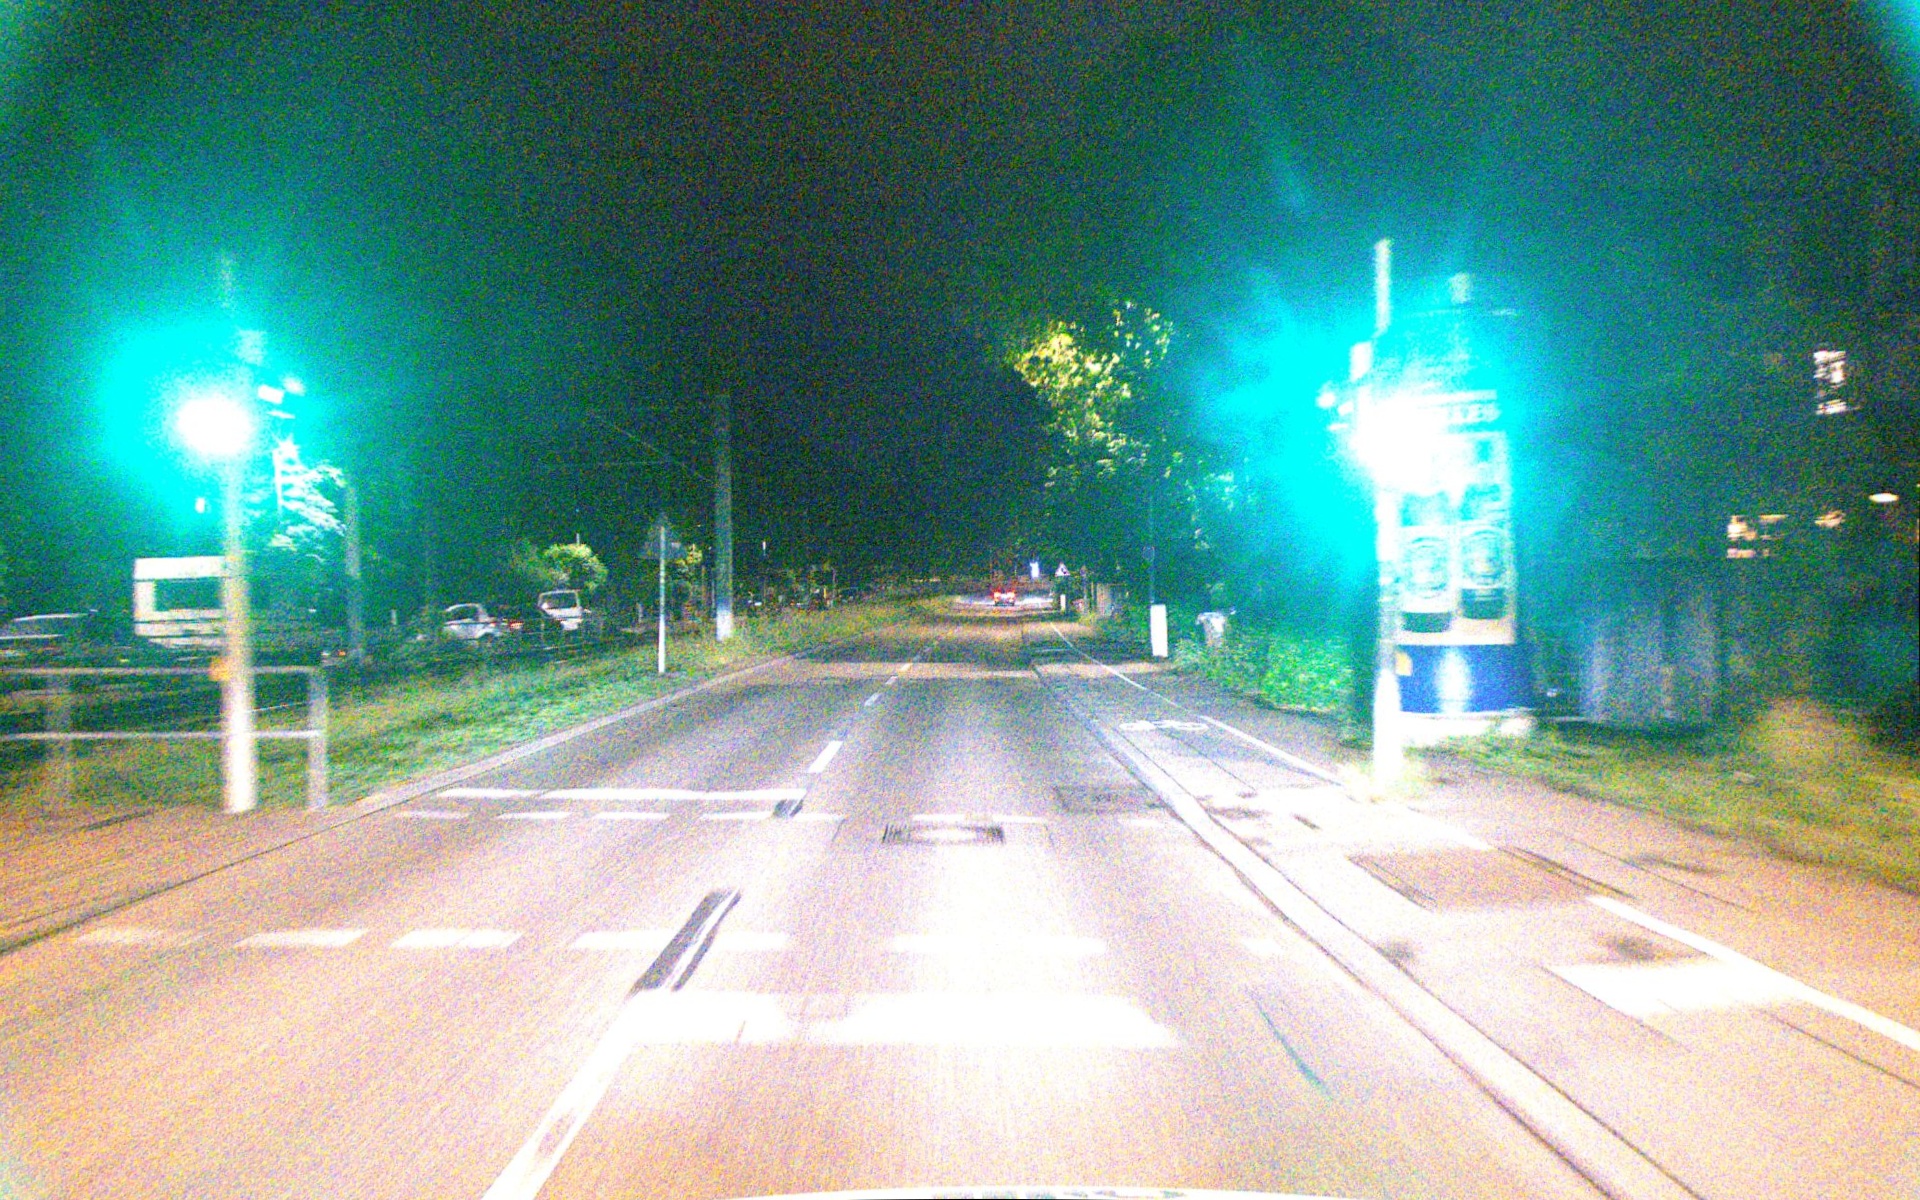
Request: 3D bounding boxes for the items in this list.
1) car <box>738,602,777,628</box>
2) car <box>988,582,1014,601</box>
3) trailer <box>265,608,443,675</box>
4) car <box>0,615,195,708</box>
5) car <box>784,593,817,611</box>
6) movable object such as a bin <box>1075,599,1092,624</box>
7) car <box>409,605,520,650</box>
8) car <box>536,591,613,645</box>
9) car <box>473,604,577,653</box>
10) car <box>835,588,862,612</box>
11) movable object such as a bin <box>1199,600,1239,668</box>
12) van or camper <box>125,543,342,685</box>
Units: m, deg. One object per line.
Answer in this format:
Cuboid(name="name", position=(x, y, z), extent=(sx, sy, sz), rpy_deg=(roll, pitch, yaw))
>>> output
Cuboid(name="car", position=(-13.524, 0.989, 110.796), extent=(1.952, 1.656, 4.678), rpy_deg=(-1, 0, 1))
Cuboid(name="car", position=(3.646, -0.731, 146.736), extent=(2.118, 1.610, 4.012), rpy_deg=(0, 0, -1))
Cuboid(name="trailer", position=(-15.433, 1.020, 42.420), extent=(2.369, 1.398, 4.658), rpy_deg=(-5, 0, 6))
Cuboid(name="car", position=(-15.416, 1.048, 29.123), extent=(1.612, 1.362, 4.543), rpy_deg=(-5, 0, 1))
Cuboid(name="car", position=(-12.533, 0.132, 130.502), extent=(1.952, 1.361, 5.433), rpy_deg=(-1, 0, 1))
Cuboid(name="movable object such as a bin", position=(6.012, 0.571, 80.361), extent=(0.816, 1.202, 0.829), rpy_deg=(-1, 0, 4))
Cuboid(name="car", position=(-15.256, 0.833, 51.040), extent=(2.968, 1.349, 1.533), rpy_deg=(-1, 0, -3))
Cuboid(name="car", position=(-14.522, 0.652, 62.617), extent=(1.819, 1.937, 4.879), rpy_deg=(-1, 0, -1))
Cuboid(name="car", position=(-14.785, 0.942, 56.538), extent=(1.862, 1.549, 5.174), rpy_deg=(-1, 0, 4))
Cuboid(name="car", position=(-10.856, -0.013, 161.142), extent=(2.049, 2.048, 4.001), rpy_deg=(-5, 1, 1))
Cuboid(name="movable object such as a bin", position=(4.779, 0.622, 30.573), extent=(0.708, 1.222, 0.720), rpy_deg=(-1, 0, 9))
Cuboid(name="van or camper", position=(-15.426, 0.268, 35.556), extent=(2.227, 2.693, 5.661), rpy_deg=(-3, 0, -2))
